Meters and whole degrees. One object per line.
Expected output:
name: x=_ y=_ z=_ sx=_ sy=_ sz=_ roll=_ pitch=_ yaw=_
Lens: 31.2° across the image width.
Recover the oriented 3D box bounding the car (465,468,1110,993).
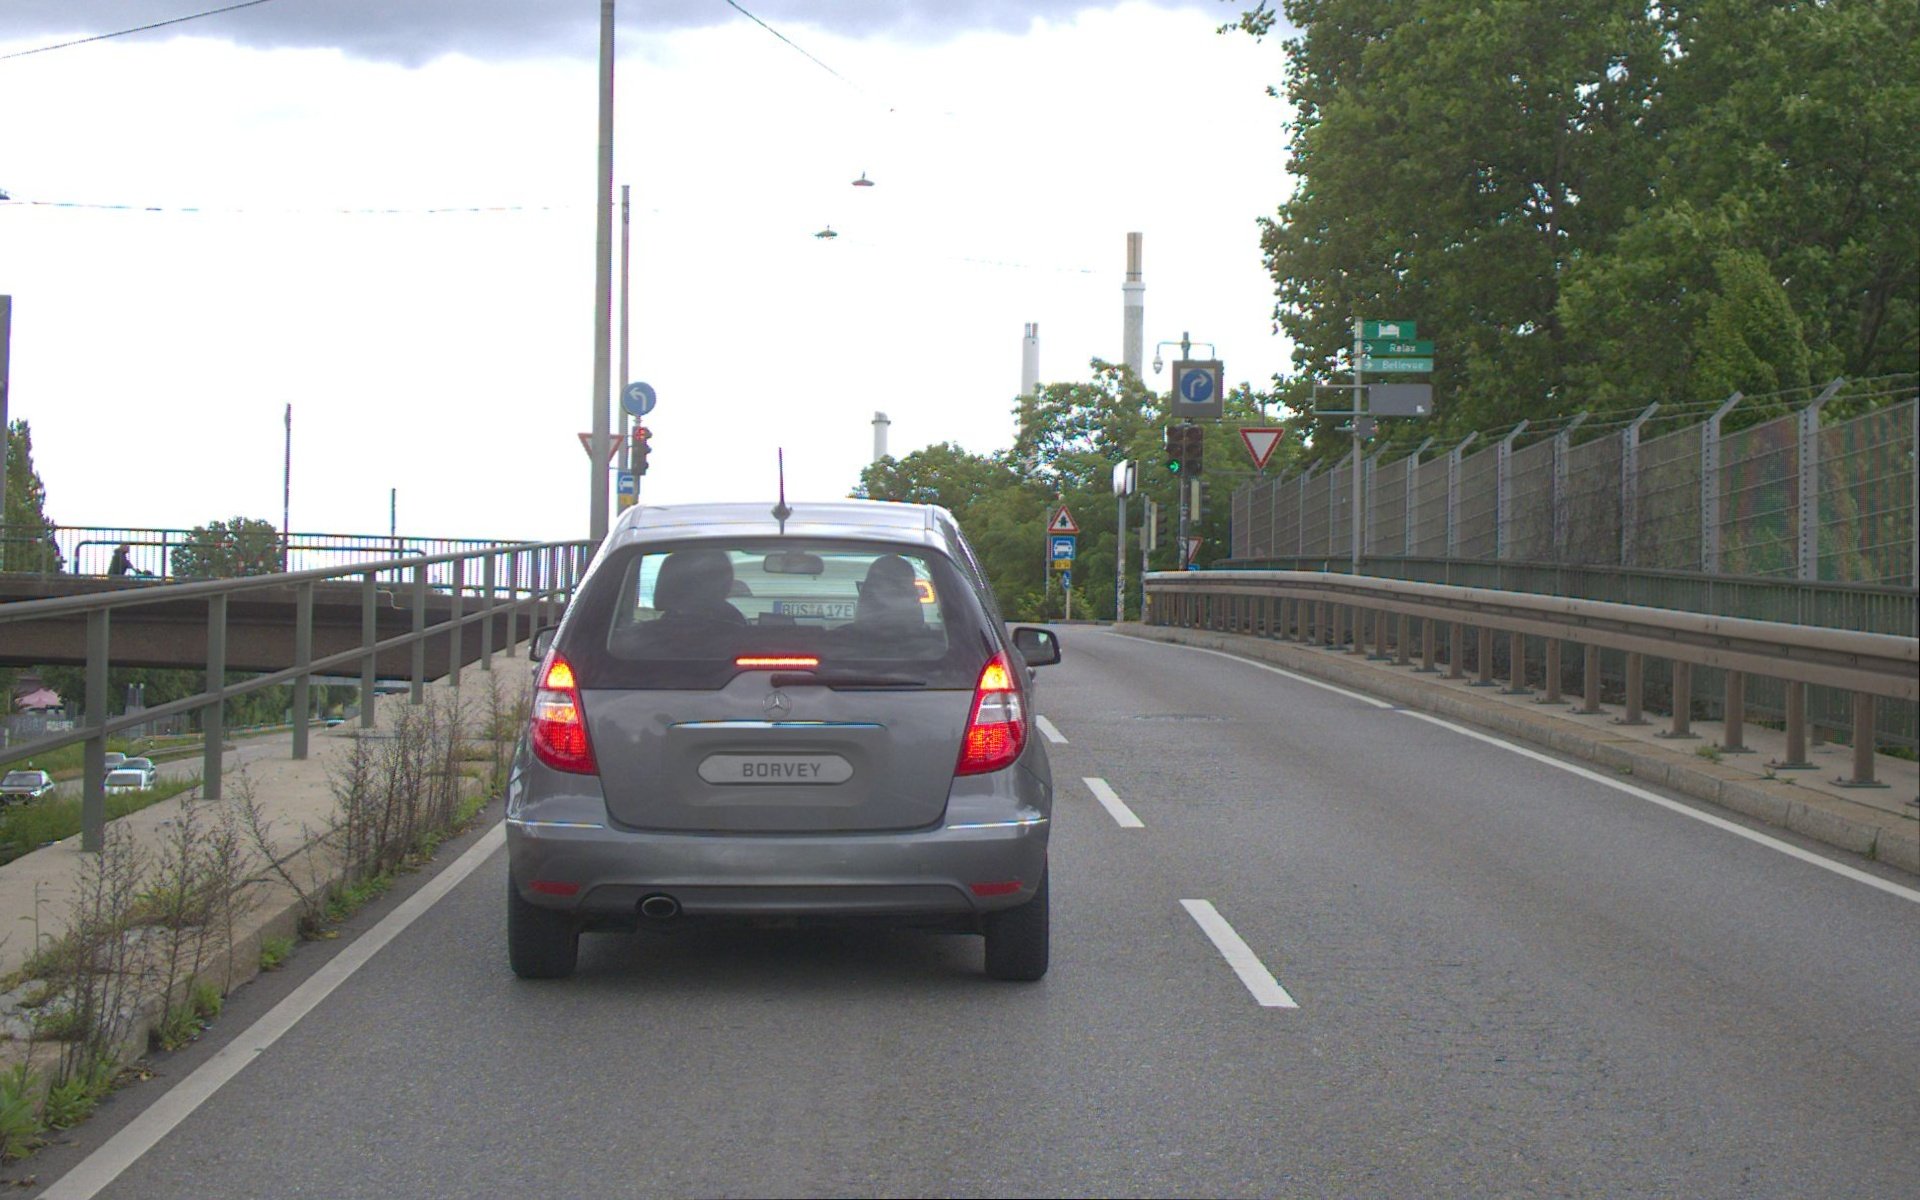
car: x=-0.443 y=0.481 z=12.531 sx=1.750 sy=1.575 sz=4.083 roll=1 pitch=-3 yaw=5

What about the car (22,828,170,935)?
car: x=-15.555 y=5.047 z=62.065 sx=1.681 sy=1.730 sz=3.998 roll=0 pitch=-2 yaw=0

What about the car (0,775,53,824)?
car: x=-35.349 y=7.491 z=129.030 sx=1.993 sy=1.683 sz=4.000 roll=0 pitch=-1 yaw=-7

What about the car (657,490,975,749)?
car: x=-0.943 y=0.058 z=23.624 sx=1.993 sy=1.597 sz=4.001 roll=0 pitch=2 yaw=-1
